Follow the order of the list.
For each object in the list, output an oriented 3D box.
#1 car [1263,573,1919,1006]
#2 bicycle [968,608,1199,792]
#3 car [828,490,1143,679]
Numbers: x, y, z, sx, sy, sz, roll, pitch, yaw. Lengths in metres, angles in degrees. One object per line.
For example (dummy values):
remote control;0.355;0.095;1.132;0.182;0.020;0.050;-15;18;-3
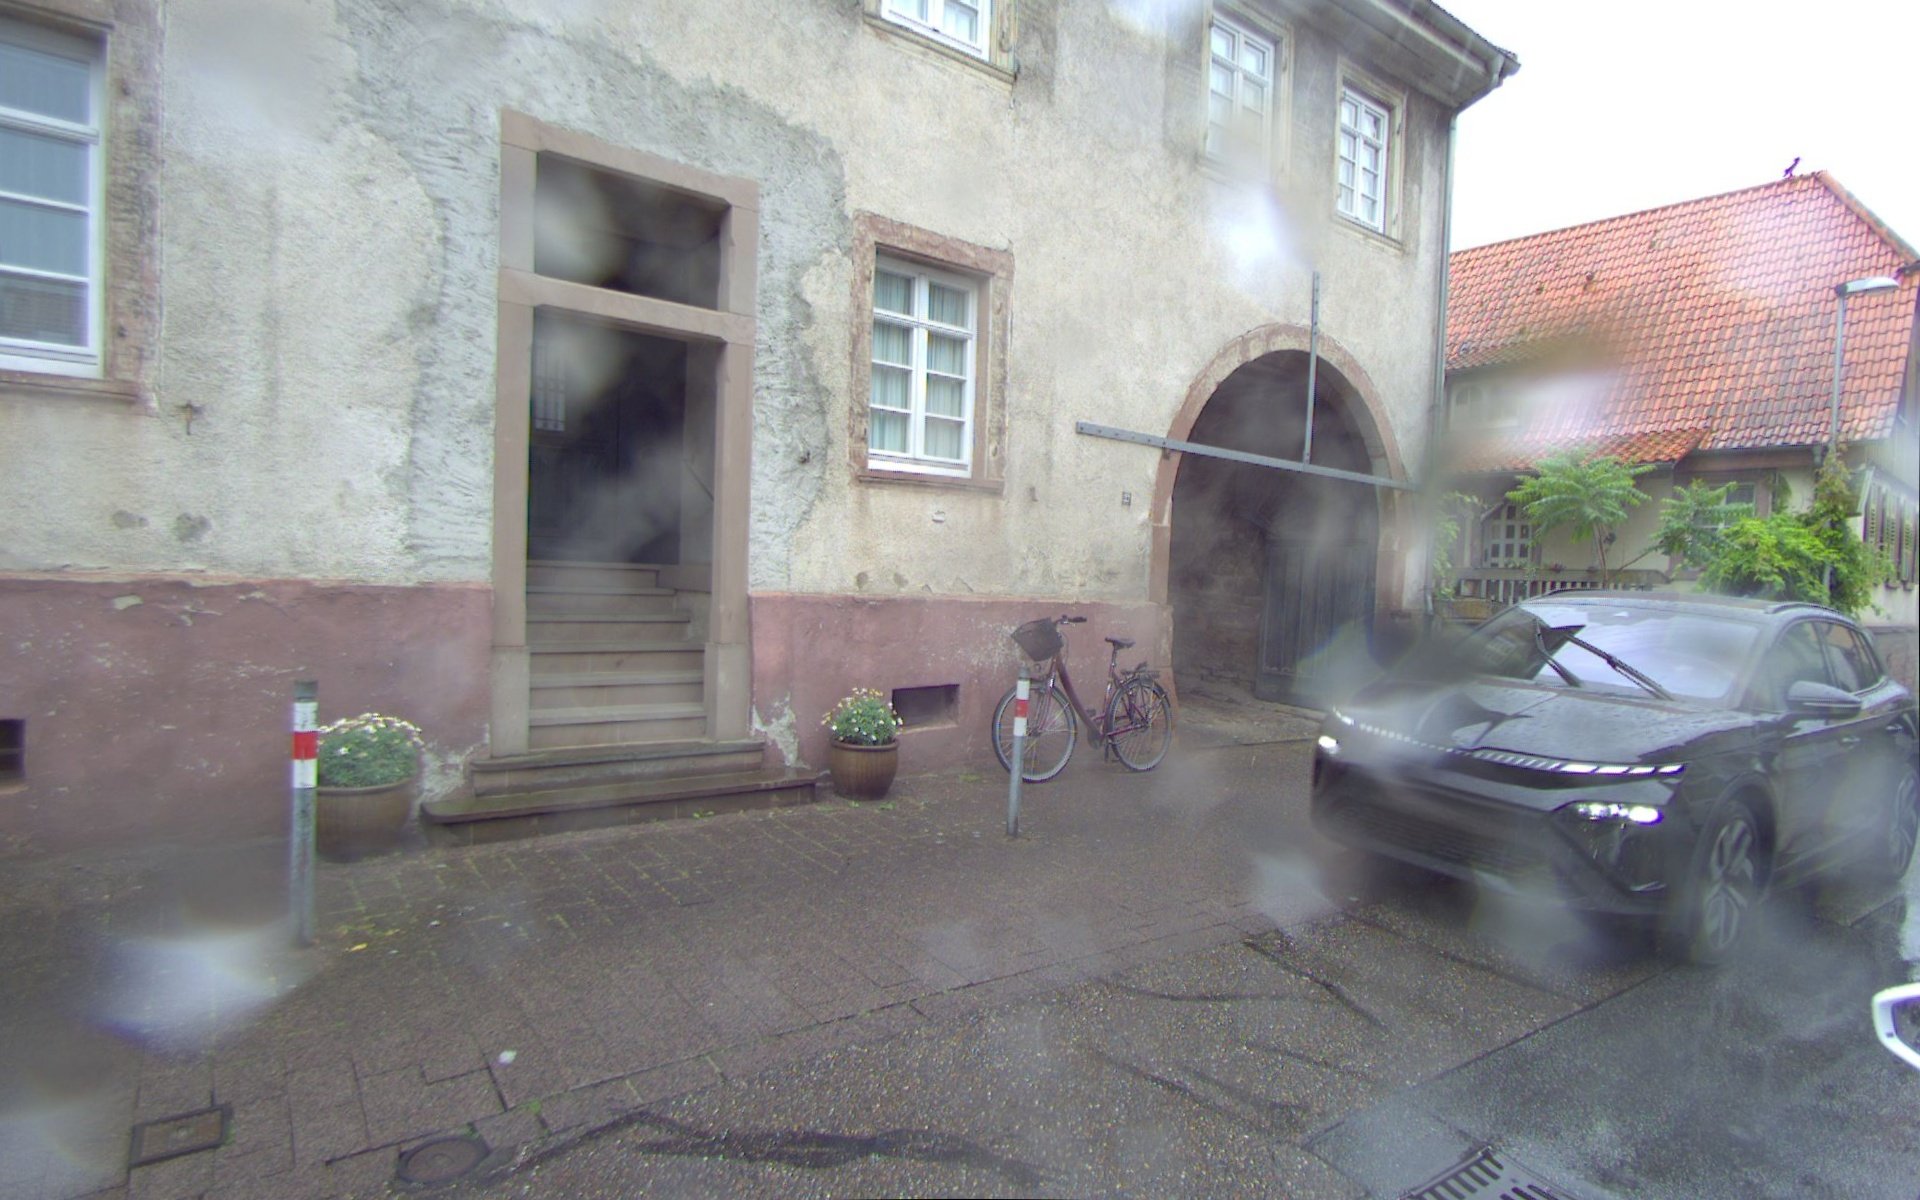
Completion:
car;3.816;0.737;5.698;4.199;1.576;1.819;2;1;-36
bicycle;0.959;0.684;7.462;1.858;1.194;0.478;1;4;-38
car;0.161;-0.307;13.537;1.869;1.957;4.194;6;3;-37
